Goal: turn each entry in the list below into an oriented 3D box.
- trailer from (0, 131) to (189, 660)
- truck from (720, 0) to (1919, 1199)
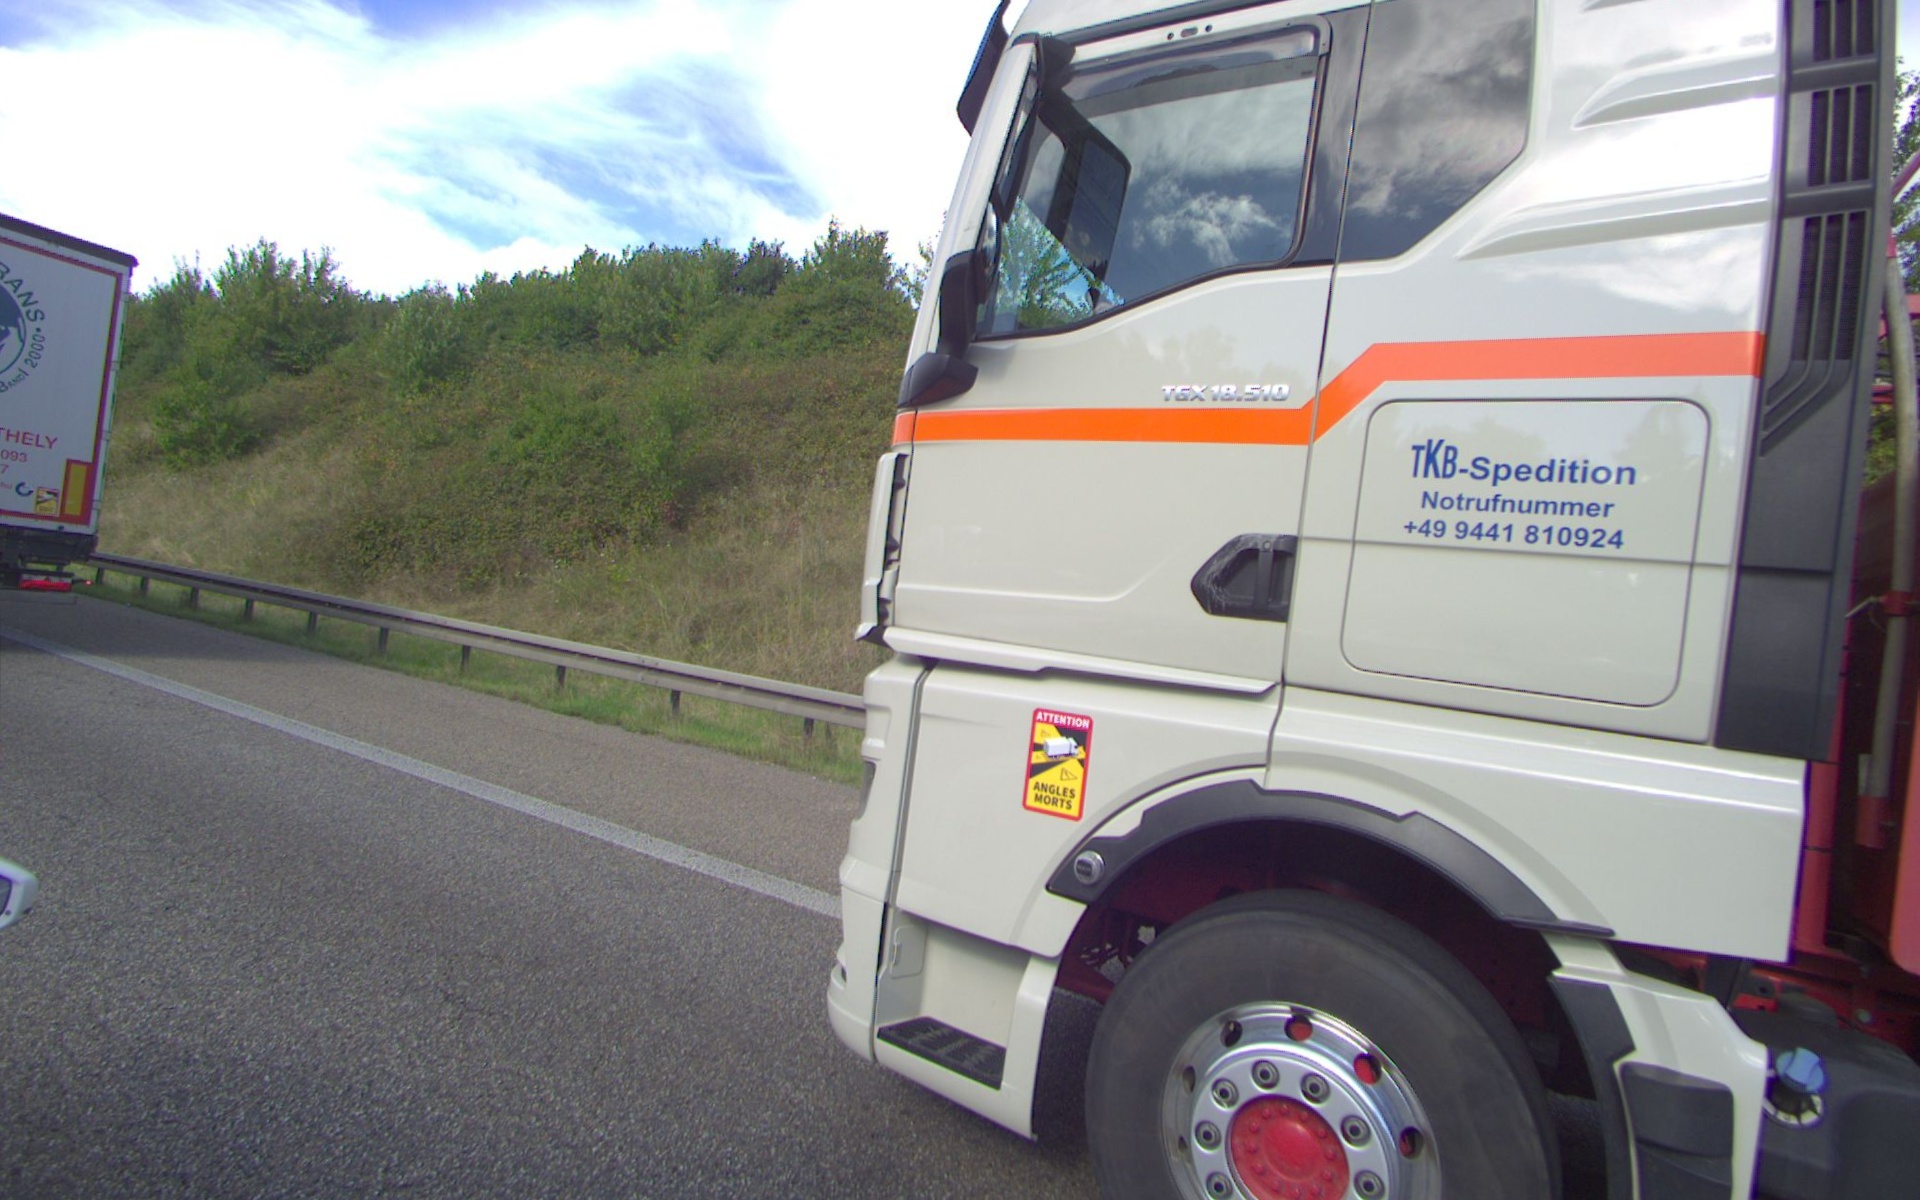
[{"bbox_3d":[-14.510,-2.546,12.298,13.066,4.715,3.008,7,-1,31],"label":"trailer"},{"bbox_3d":[2.776,-0.191,2.344,5.806,4.091,2.807,7,-1,32],"label":"truck"}]
